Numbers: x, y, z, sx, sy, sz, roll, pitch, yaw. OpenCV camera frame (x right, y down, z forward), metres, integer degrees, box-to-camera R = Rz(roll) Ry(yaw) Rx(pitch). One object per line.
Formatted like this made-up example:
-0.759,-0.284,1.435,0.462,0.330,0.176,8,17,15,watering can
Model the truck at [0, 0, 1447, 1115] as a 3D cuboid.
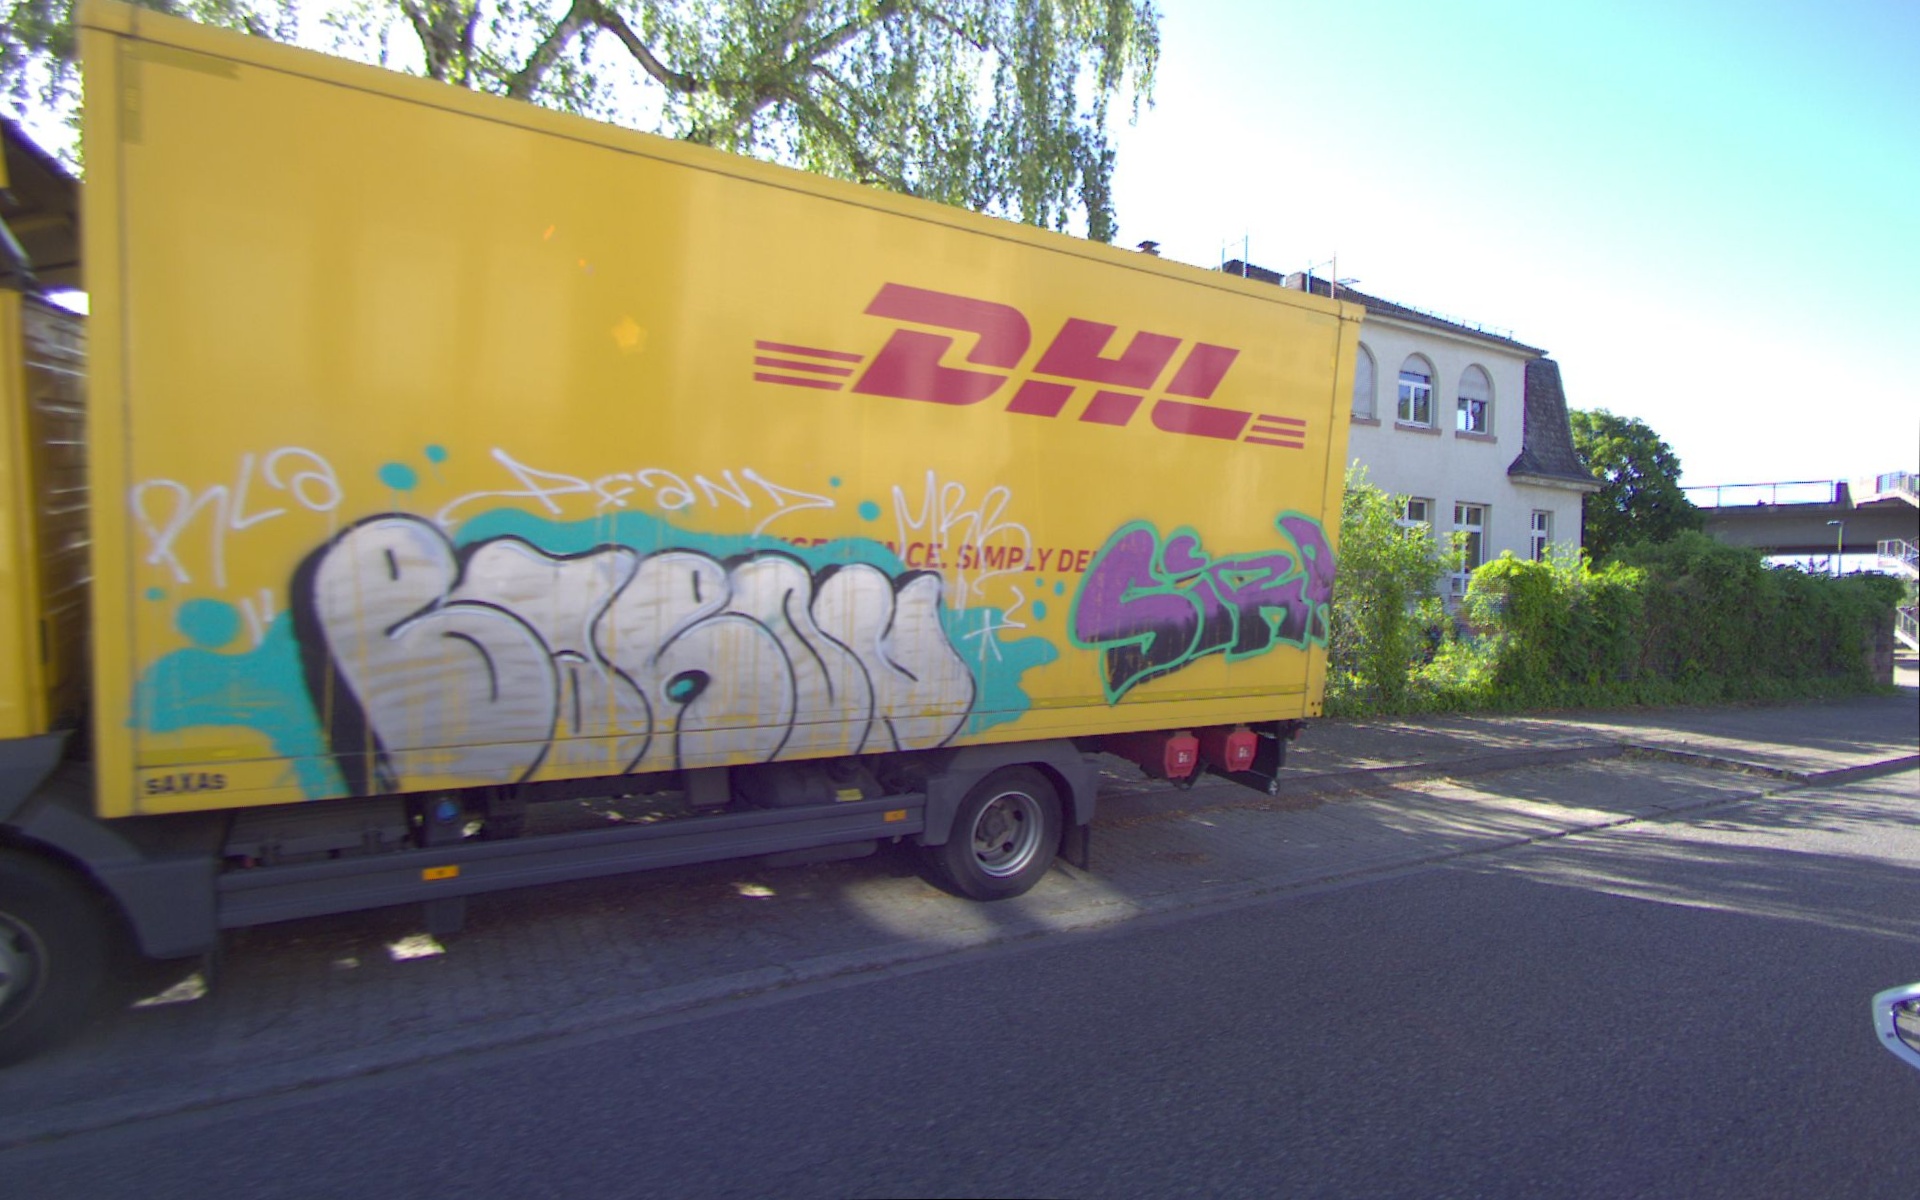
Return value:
-1.387,-0.297,5.363,8.555,3.553,2.618,0,6,-31,truck
